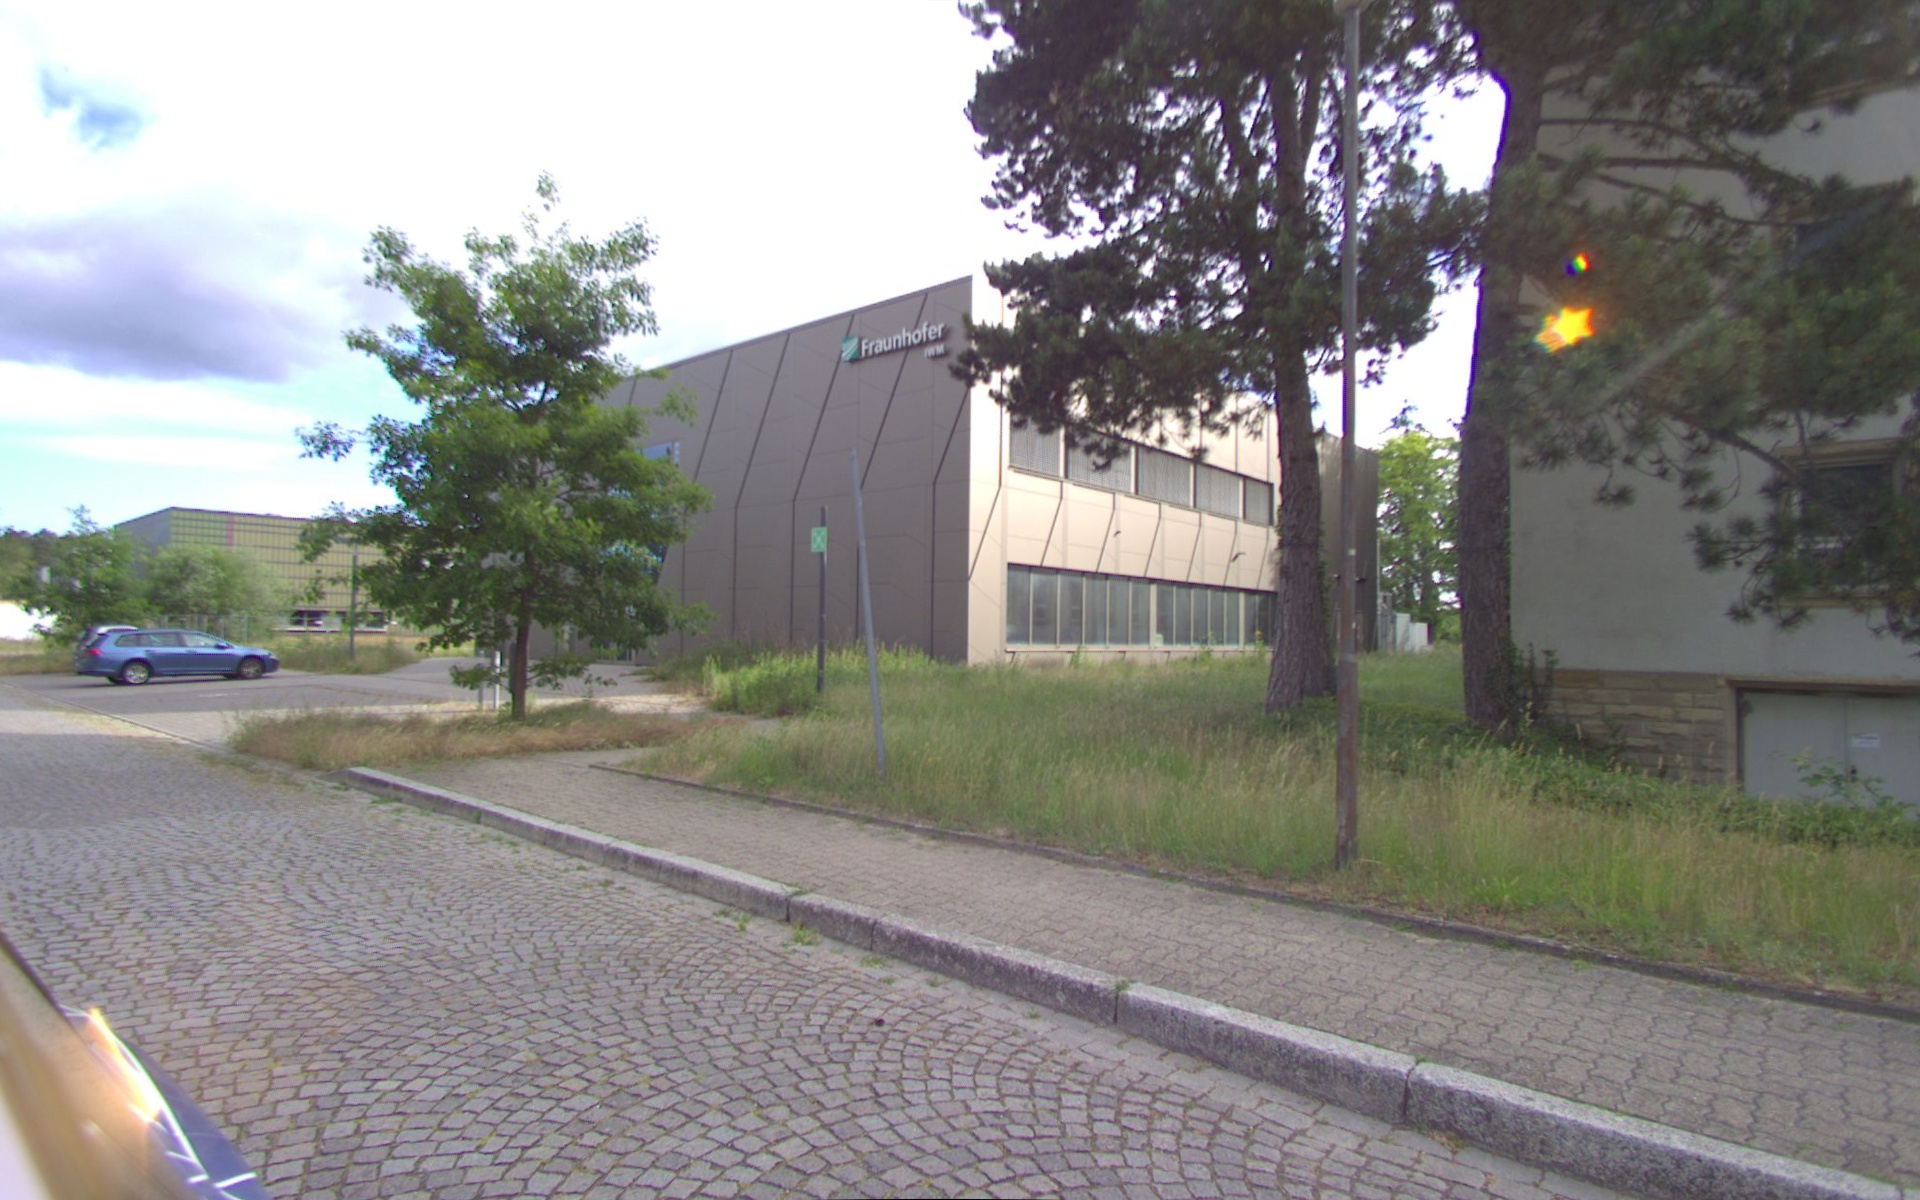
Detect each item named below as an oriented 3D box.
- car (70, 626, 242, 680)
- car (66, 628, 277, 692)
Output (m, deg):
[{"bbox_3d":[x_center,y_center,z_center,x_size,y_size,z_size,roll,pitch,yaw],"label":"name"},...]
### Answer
[{"bbox_3d":[-26.557,1.699,33.503,4.339,1.558,1.843,0,-1,-43],"label":"car"},{"bbox_3d":[-21.670,1.579,27.969,1.715,1.522,4.350,-1,-1,38],"label":"car"}]
